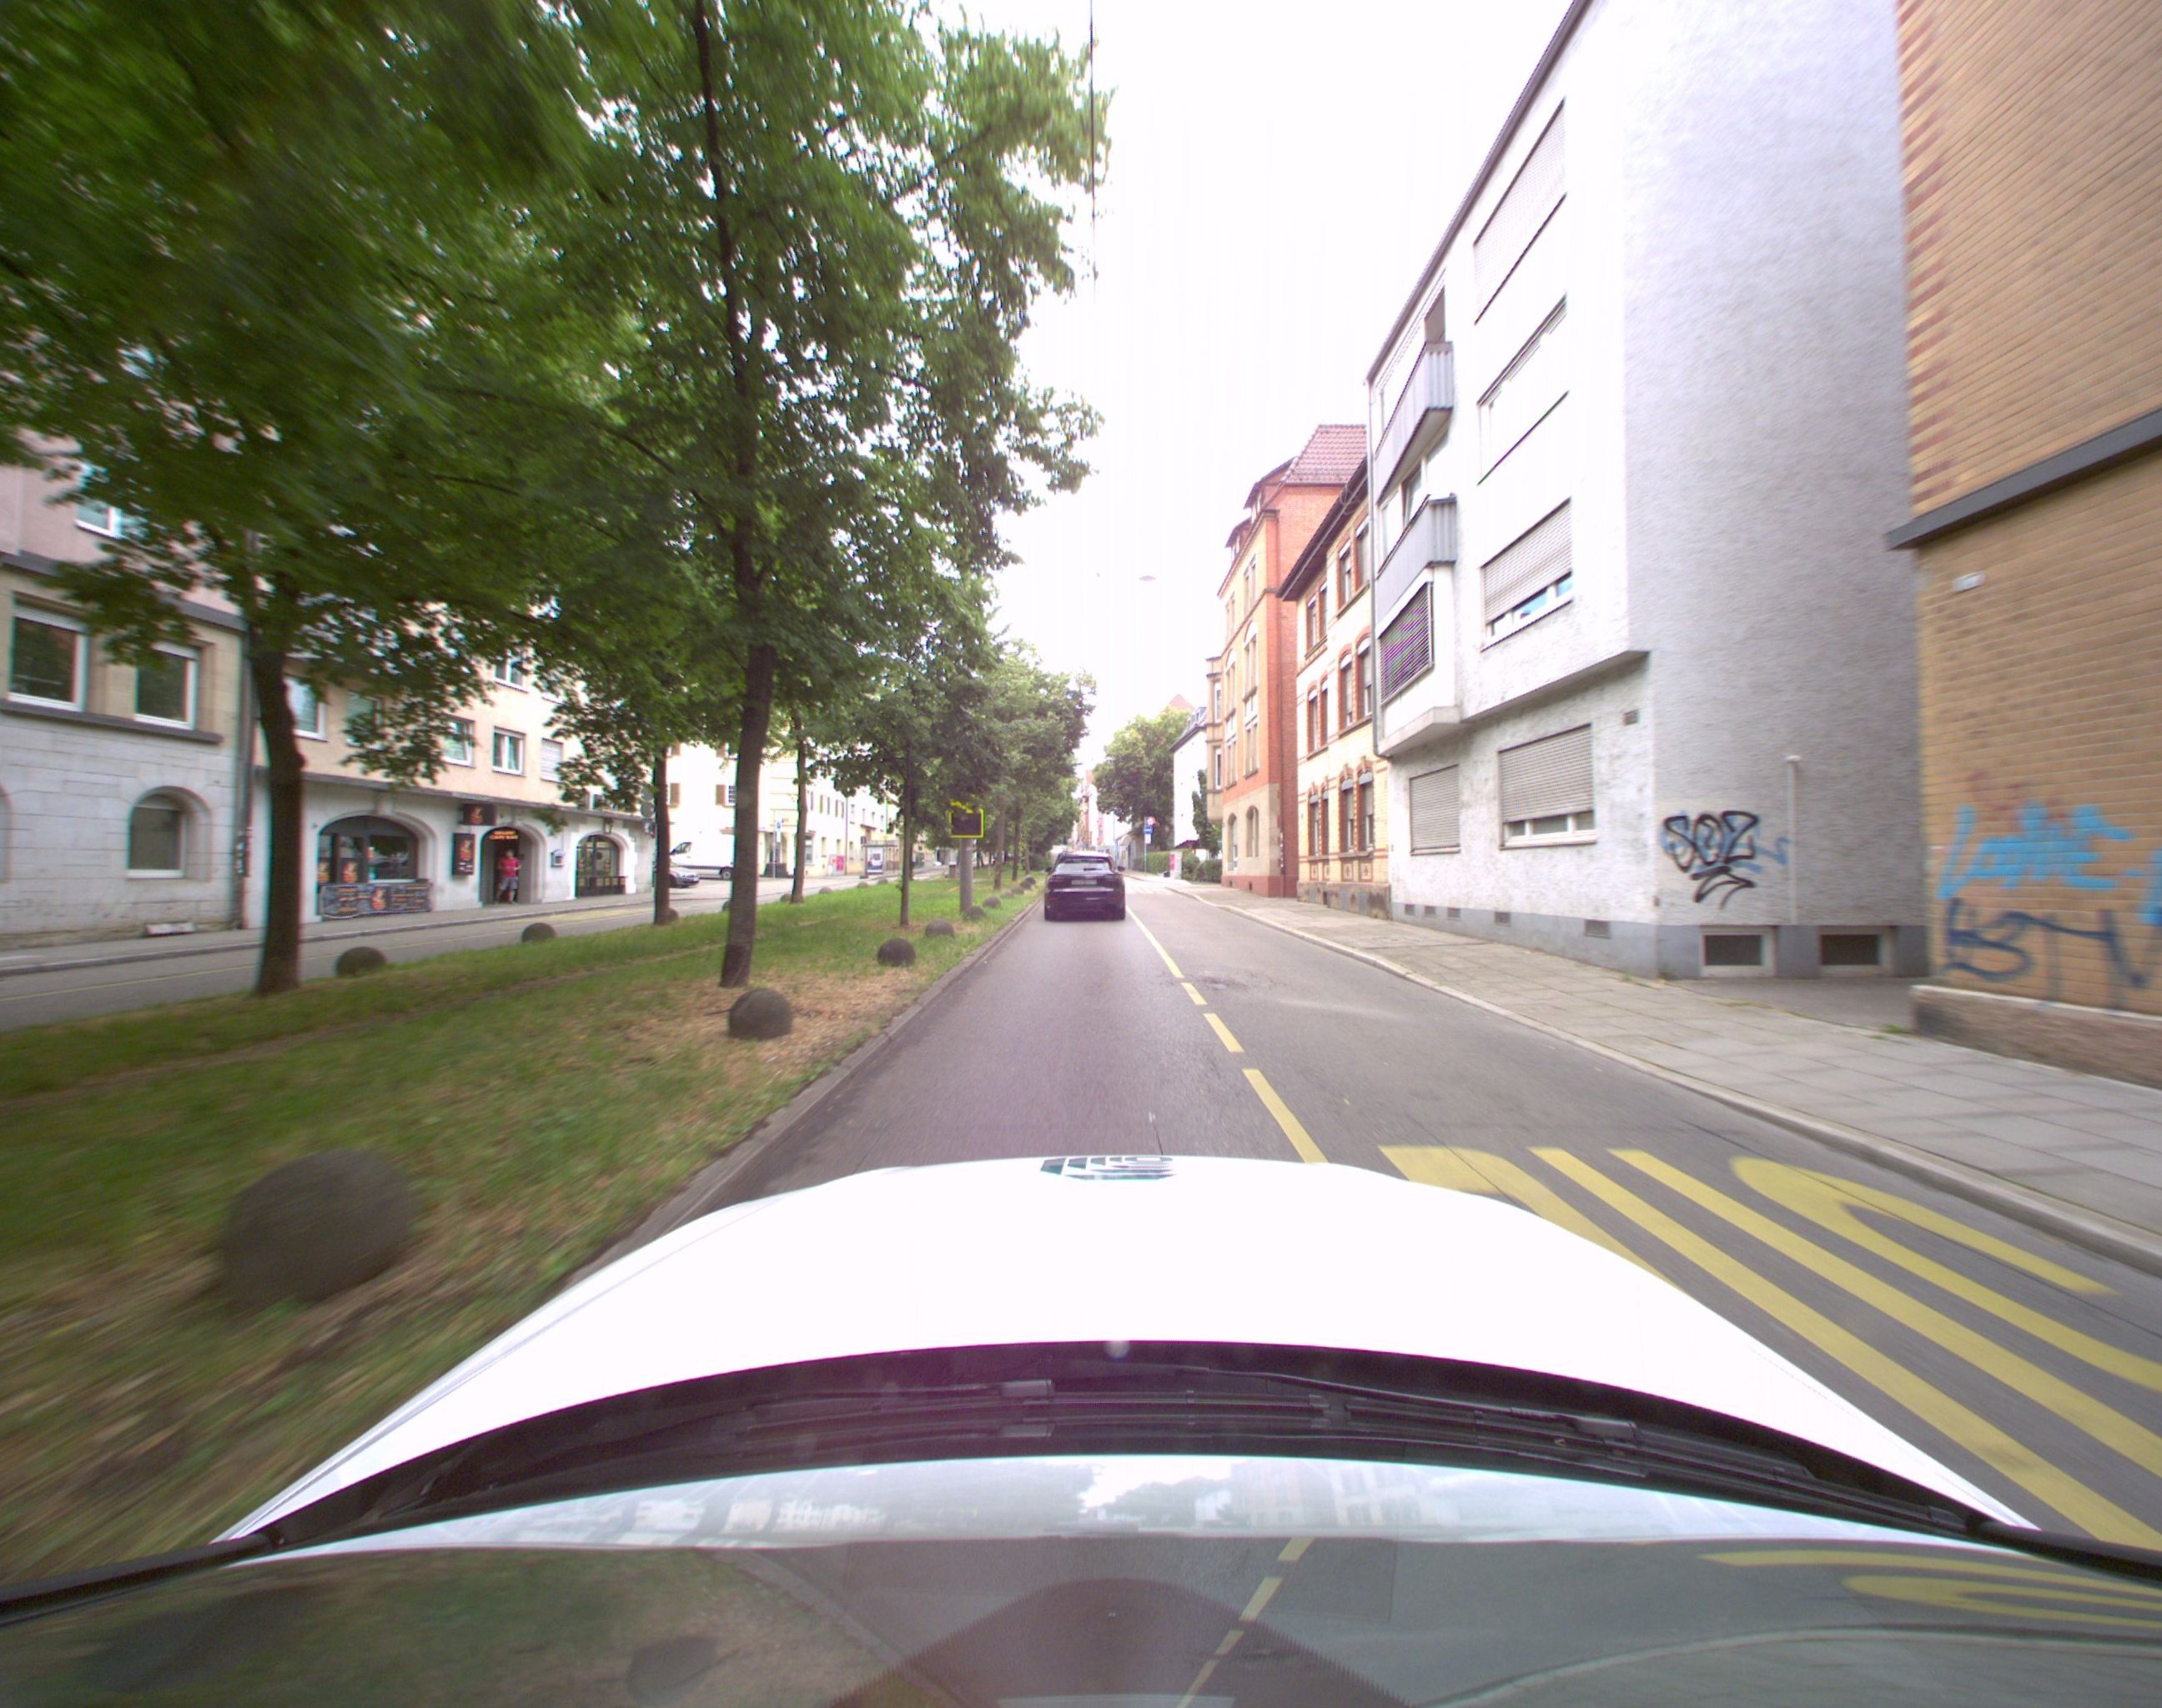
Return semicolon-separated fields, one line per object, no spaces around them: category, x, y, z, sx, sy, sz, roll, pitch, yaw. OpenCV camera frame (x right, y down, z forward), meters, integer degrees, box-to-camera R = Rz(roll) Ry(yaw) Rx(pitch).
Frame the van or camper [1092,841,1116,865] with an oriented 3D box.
van or camper;2.773;-0.095;99.629;2.473;2.803;7.233;0;0;-2

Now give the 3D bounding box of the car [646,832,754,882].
car;-21.811;0.202;46.813;5.173;2.736;2.170;1;-1;-10

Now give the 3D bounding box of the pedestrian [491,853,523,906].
pedestrian;-18.480;0.808;26.245;0.530;1.666;0.701;0;0;0

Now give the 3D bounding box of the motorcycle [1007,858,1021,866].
motorcycle;-11.159;1.267;136.248;2.377;1.317;1.044;0;0;-4

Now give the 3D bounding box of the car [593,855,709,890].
car;-20.069;0.846;38.128;4.274;1.420;2.048;2;0;0

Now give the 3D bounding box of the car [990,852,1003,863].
car;-15.807;0.642;151.845;1.945;1.628;4.359;-8;0;-3

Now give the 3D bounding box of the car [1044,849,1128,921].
car;0.019;0.738;21.075;1.899;1.666;4.130;0;0;-4
